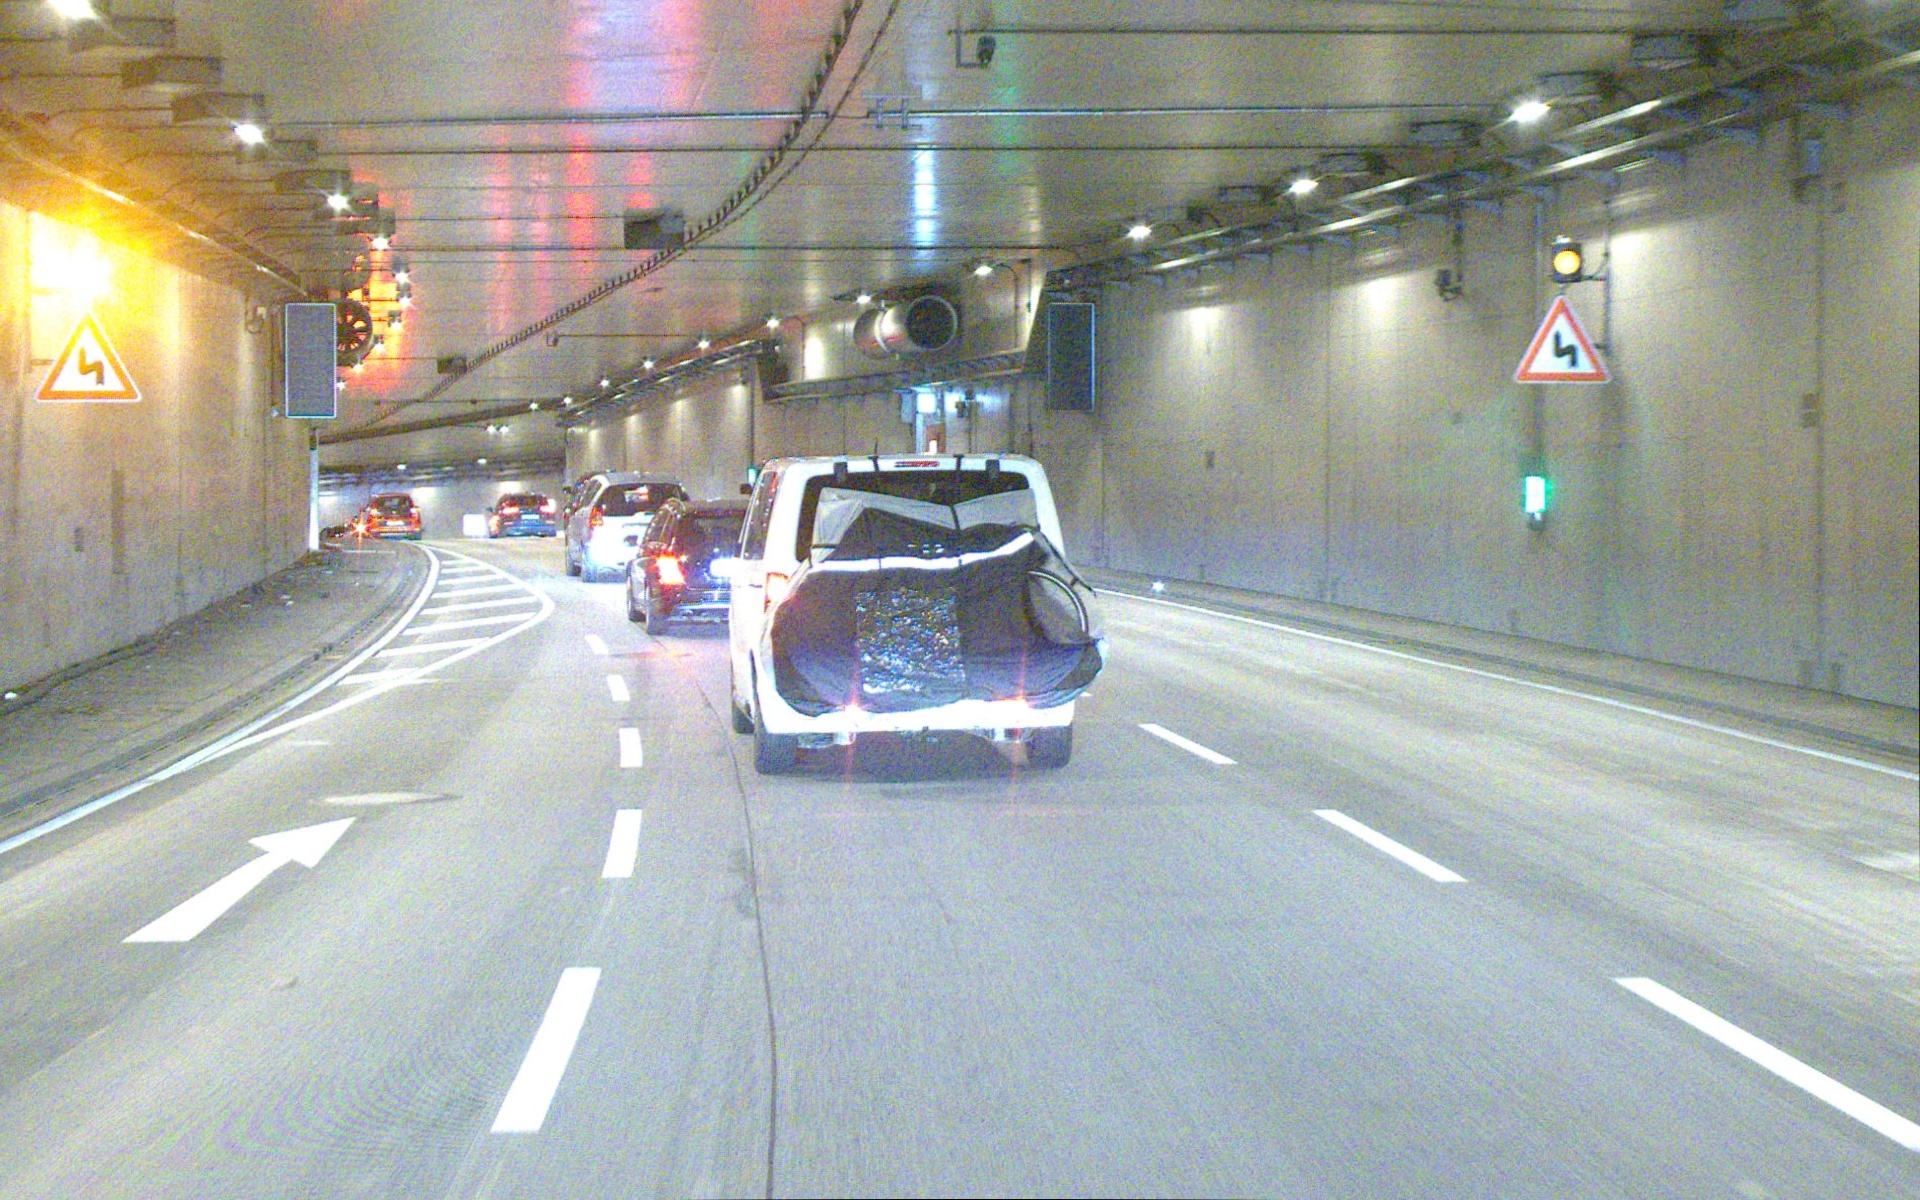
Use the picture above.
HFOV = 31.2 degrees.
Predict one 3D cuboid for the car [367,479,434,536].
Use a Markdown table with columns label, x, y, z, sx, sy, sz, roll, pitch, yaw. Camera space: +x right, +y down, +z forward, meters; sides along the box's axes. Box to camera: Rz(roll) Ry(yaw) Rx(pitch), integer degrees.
| label | x | y | z | sx | sy | sz | roll | pitch | yaw |
| --- | --- | --- | --- | --- | --- | --- | --- | --- | --- |
| car | -17.332 | -2.846 | 106.427 | 1.822 | 1.625 | 3.844 | 1 | 0 | -12 |

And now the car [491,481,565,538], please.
| label | x | y | z | sx | sy | sz | roll | pitch | yaw |
| --- | --- | --- | --- | --- | --- | --- | --- | --- | --- |
| car | -13.187 | -2.729 | 104.746 | 1.822 | 1.625 | 3.844 | 1 | 0 | -13 |

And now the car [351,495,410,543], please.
| label | x | y | z | sx | sy | sz | roll | pitch | yaw |
| --- | --- | --- | --- | --- | --- | --- | --- | --- | --- |
| car | -20.802 | -2.896 | 123.333 | 1.822 | 1.625 | 3.844 | 1 | 0 | -13 |

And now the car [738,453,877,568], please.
| label | x | y | z | sx | sy | sz | roll | pitch | yaw |
| --- | --- | --- | --- | --- | --- | --- | --- | --- | --- |
| car | -2.579 | -1.454 | 57.381 | 1.872 | 1.755 | 4.001 | 1 | 0 | -8 |

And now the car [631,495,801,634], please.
| label | x | y | z | sx | sy | sz | roll | pitch | yaw |
| --- | --- | --- | --- | --- | --- | --- | --- | --- | --- |
| car | -2.644 | -0.408 | 36.754 | 1.602 | 1.390 | 3.278 | 0 | 2 | -8 |

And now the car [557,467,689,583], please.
| label | x | y | z | sx | sy | sz | roll | pitch | yaw |
| --- | --- | --- | --- | --- | --- | --- | --- | --- | --- |
| car | -4.980 | -1.127 | 50.442 | 1.602 | 1.588 | 3.357 | 0 | 3 | -11 |

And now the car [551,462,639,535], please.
| label | x | y | z | sx | sy | sz | roll | pitch | yaw |
| --- | --- | --- | --- | --- | --- | --- | --- | --- | --- |
| car | -8.698 | -2.394 | 81.741 | 1.602 | 1.625 | 3.356 | 1 | 0 | -14 |

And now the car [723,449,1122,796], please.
| label | x | y | z | sx | sy | sz | roll | pitch | yaw |
| --- | --- | --- | --- | --- | --- | --- | --- | --- | --- |
| car | -0.375 | 0.021 | 20.999 | 1.993 | 1.841 | 5.303 | 0 | 2 | -5 |
